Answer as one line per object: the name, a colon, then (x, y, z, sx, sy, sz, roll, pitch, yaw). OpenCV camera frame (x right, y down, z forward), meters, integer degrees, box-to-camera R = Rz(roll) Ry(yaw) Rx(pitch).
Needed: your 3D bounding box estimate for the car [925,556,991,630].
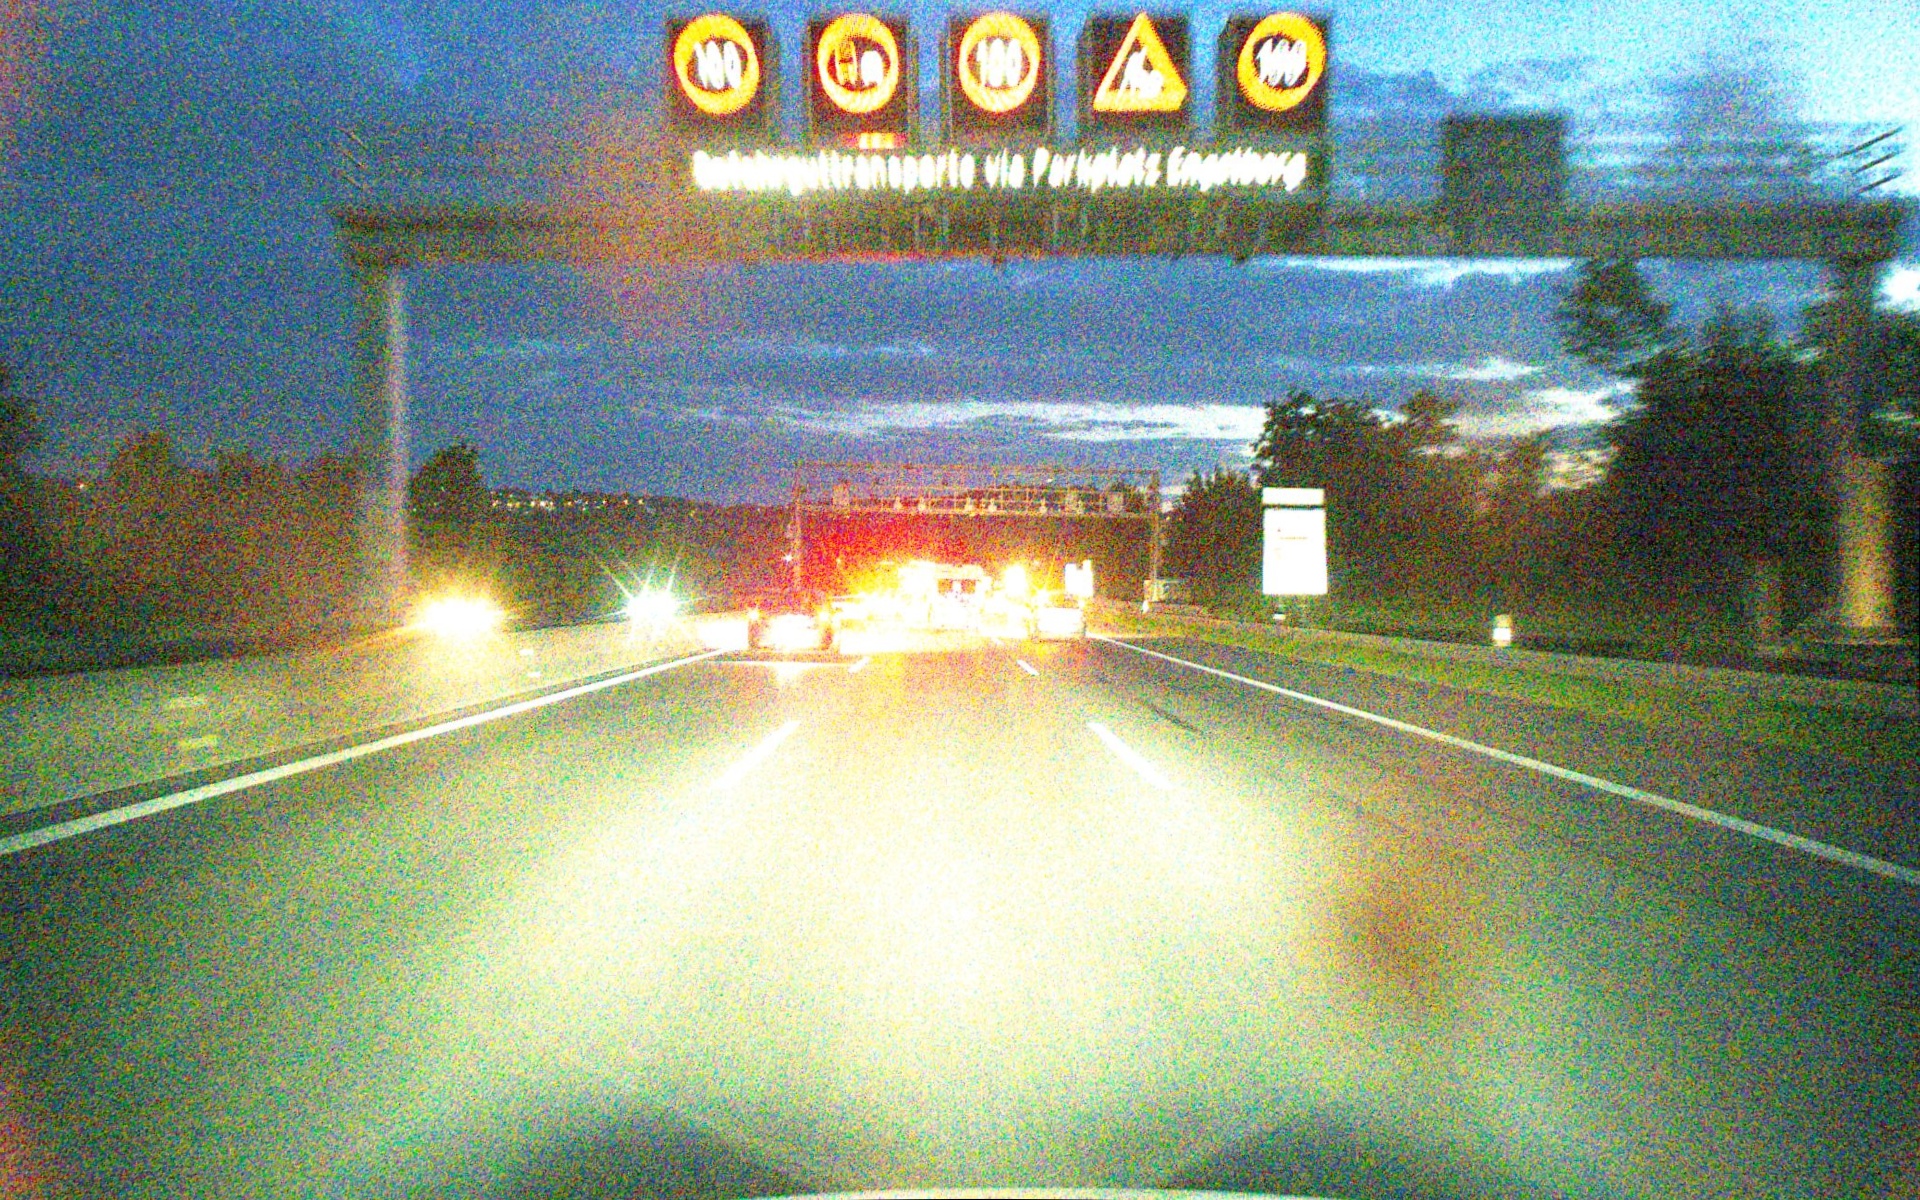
car: (-0.088, -0.292, 60.876, 2.303, 2.579, 5.700, 0, 1, 0)

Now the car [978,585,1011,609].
car: (2.310, -0.223, 112.337, 2.118, 1.591, 4.722, 0, 0, 0)

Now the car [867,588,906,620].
car: (-3.594, 0.173, 81.122, 1.709, 1.465, 4.367, 0, 1, 0)

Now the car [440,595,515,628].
car: (-19.919, 0.457, 68.458, 1.864, 1.305, 4.349, -1, 0, 0)

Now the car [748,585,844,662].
car: (-3.404, 0.450, 34.828, 1.758, 1.494, 3.771, 1, 1, -2)

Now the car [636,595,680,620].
car: (-19.738, 0.476, 108.397, 1.924, 1.564, 5.184, -1, 0, 0)

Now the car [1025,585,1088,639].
car: (3.046, 0.354, 52.928, 1.613, 1.624, 4.508, 1, 0, -1)
